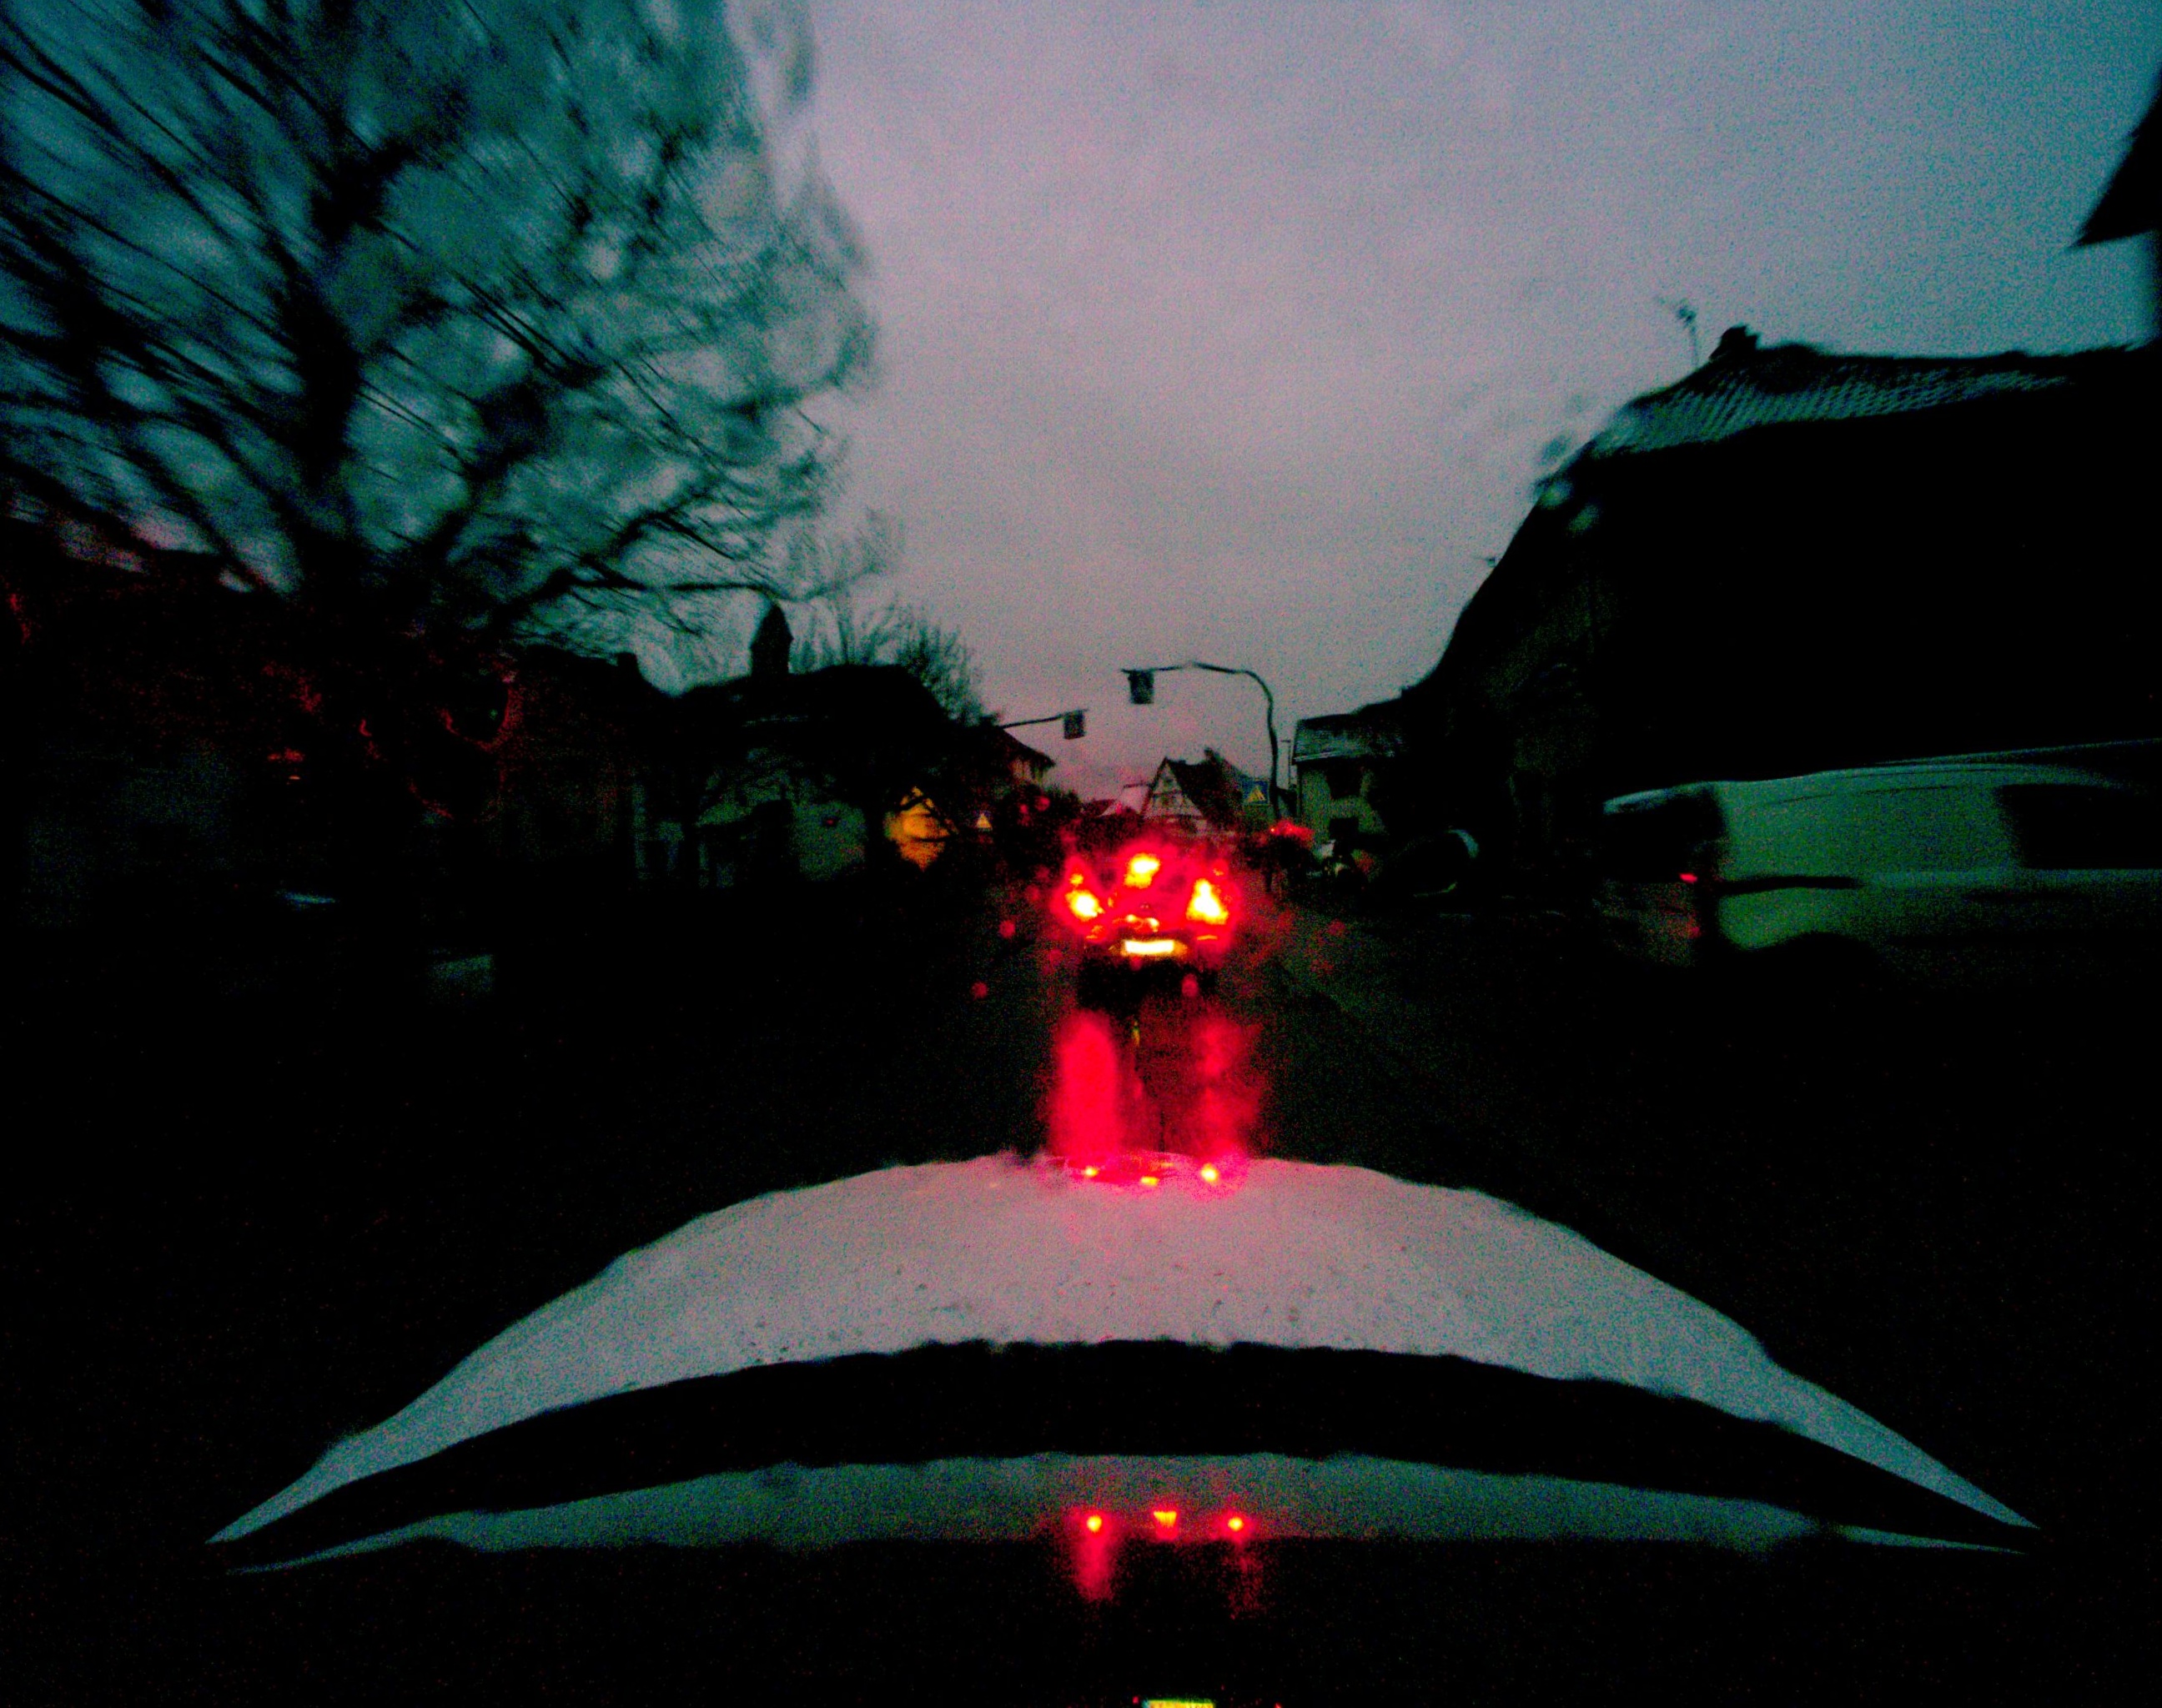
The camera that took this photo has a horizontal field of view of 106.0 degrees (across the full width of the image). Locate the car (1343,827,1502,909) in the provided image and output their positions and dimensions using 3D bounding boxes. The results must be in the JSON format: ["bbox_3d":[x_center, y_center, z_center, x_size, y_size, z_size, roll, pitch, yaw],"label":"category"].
[{"bbox_3d":[6.937,0.283,16.773,2.744,1.474,1.432,-4,0,13],"label":"car"}]

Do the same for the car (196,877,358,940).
[{"bbox_3d":[-23.222,1.542,23.562,3.572,1.612,1.720,0,1,15],"label":"car"}]

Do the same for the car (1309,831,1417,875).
[{"bbox_3d":[11.173,-0.045,32.519,3.870,1.474,1.758,-4,0,15],"label":"car"}]

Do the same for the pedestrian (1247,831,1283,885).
[{"bbox_3d":[6.000,0.112,26.472,0.859,1.667,0.997,-5,-1,20],"label":"pedestrian"}]

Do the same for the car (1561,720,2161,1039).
[{"bbox_3d":[6.151,0.141,5.995,4.019,1.843,1.868,-4,-1,8],"label":"car"}]

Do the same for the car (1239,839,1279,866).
[{"bbox_3d":[11.389,-0.099,51.824,1.832,1.637,4.358,-1,0,20],"label":"car"}]

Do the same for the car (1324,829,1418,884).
[{"bbox_3d":[9.174,0.061,25.927,2.565,1.547,1.557,-4,0,12],"label":"car"}]

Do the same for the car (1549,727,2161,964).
[{"bbox_3d":[7.960,-0.057,8.442,4.947,1.889,1.944,-4,0,12],"label":"car"}]

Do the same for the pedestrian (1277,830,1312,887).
[{"bbox_3d":[6.857,0.127,26.186,0.841,1.733,0.977,-5,-1,20],"label":"pedestrian"}]

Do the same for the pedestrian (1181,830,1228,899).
[{"bbox_3d":[3.286,0.260,21.609,0.872,1.735,0.960,-5,-1,21],"label":"pedestrian"}]

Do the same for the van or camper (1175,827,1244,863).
[{"bbox_3d":[12.544,-0.838,79.456,6.003,2.955,2.421,-6,-2,28],"label":"van or camper"}]

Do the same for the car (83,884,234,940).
[{"bbox_3d":[-24.054,1.471,21.257,3.021,1.126,1.536,3,2,18],"label":"car"}]

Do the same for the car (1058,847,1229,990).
[{"bbox_3d":[0.684,0.671,10.659,1.789,1.476,4.000,-1,0,0],"label":"car"}]
